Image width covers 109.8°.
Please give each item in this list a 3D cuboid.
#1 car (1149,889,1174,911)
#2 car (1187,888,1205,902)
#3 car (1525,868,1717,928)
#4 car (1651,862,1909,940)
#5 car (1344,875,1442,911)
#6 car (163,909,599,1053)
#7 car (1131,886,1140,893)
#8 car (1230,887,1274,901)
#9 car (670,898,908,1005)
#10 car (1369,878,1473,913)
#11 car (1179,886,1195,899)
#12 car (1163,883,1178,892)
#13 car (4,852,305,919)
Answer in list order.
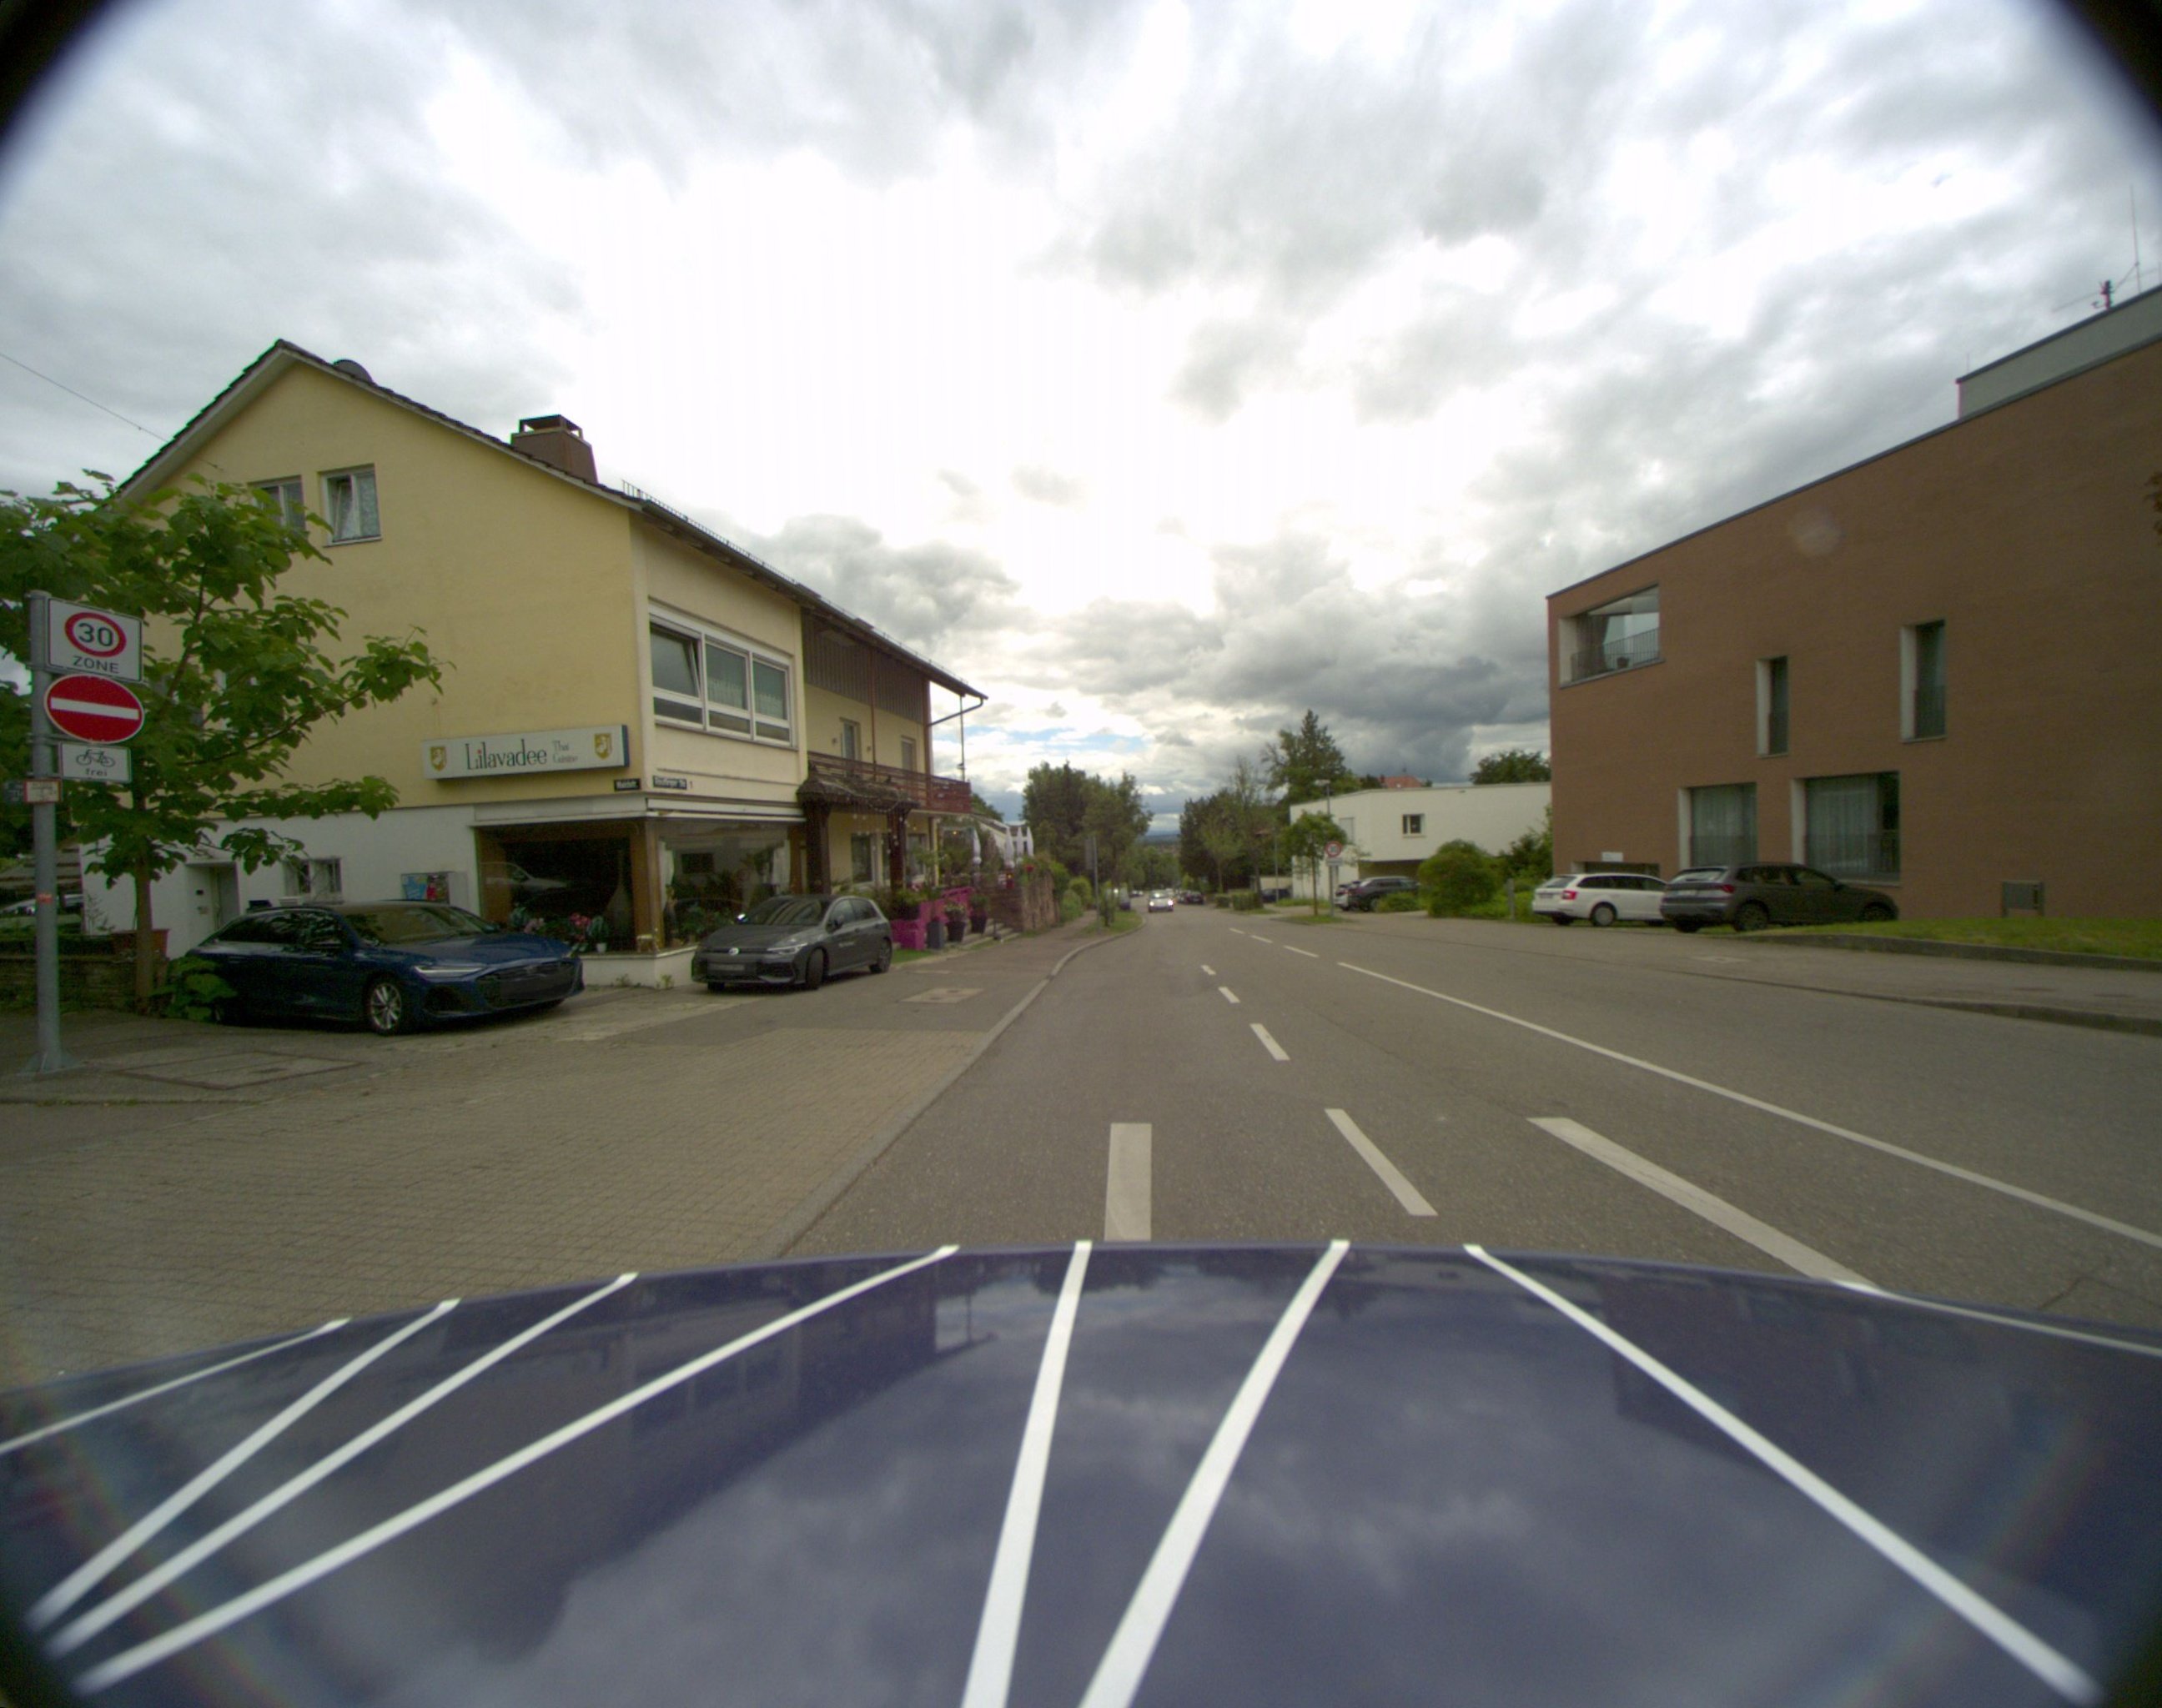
[{"bbox_3d":[5.892,3.347,55.939,1.725,1.476,4.004,-2,-3,6],"label":"car"},{"bbox_3d":[12.195,4.290,80.579,1.661,1.412,4.004,-2,-3,6],"label":"car"},{"bbox_3d":[14.625,1.183,20.714,3.998,1.476,1.727,-1,-3,-3],"label":"car"},{"bbox_3d":[14.923,0.990,16.360,3.998,1.476,1.727,-1,-3,-3],"label":"car"},{"bbox_3d":[15.067,1.889,36.877,3.996,1.585,1.795,-2,-3,3],"label":"car"},{"bbox_3d":[-8.520,1.415,9.290,4.739,1.378,1.802,-2,-1,18],"label":"car"},{"bbox_3d":[13.113,8.568,184.301,1.883,1.412,4.369,-1,-1,1],"label":"car"},{"bbox_3d":[16.561,3.876,73.729,3.995,1.278,1.665,-2,-3,7],"label":"car"},{"bbox_3d":[-4.533,1.476,12.627,1.796,1.452,4.332,-1,-4,8],"label":"car"},{"bbox_3d":[15.612,1.891,35.035,3.996,1.476,1.728,-2,-3,3],"label":"car"},{"bbox_3d":[12.513,4.545,89.576,1.661,1.412,4.372,-2,-3,6],"label":"car"},{"bbox_3d":[16.225,6.055,137.973,1.884,1.412,4.368,-1,-1,-2],"label":"car"},{"bbox_3d":[-22.640,0.821,18.844,1.795,1.452,4.336,-2,-4,22],"label":"car"}]
